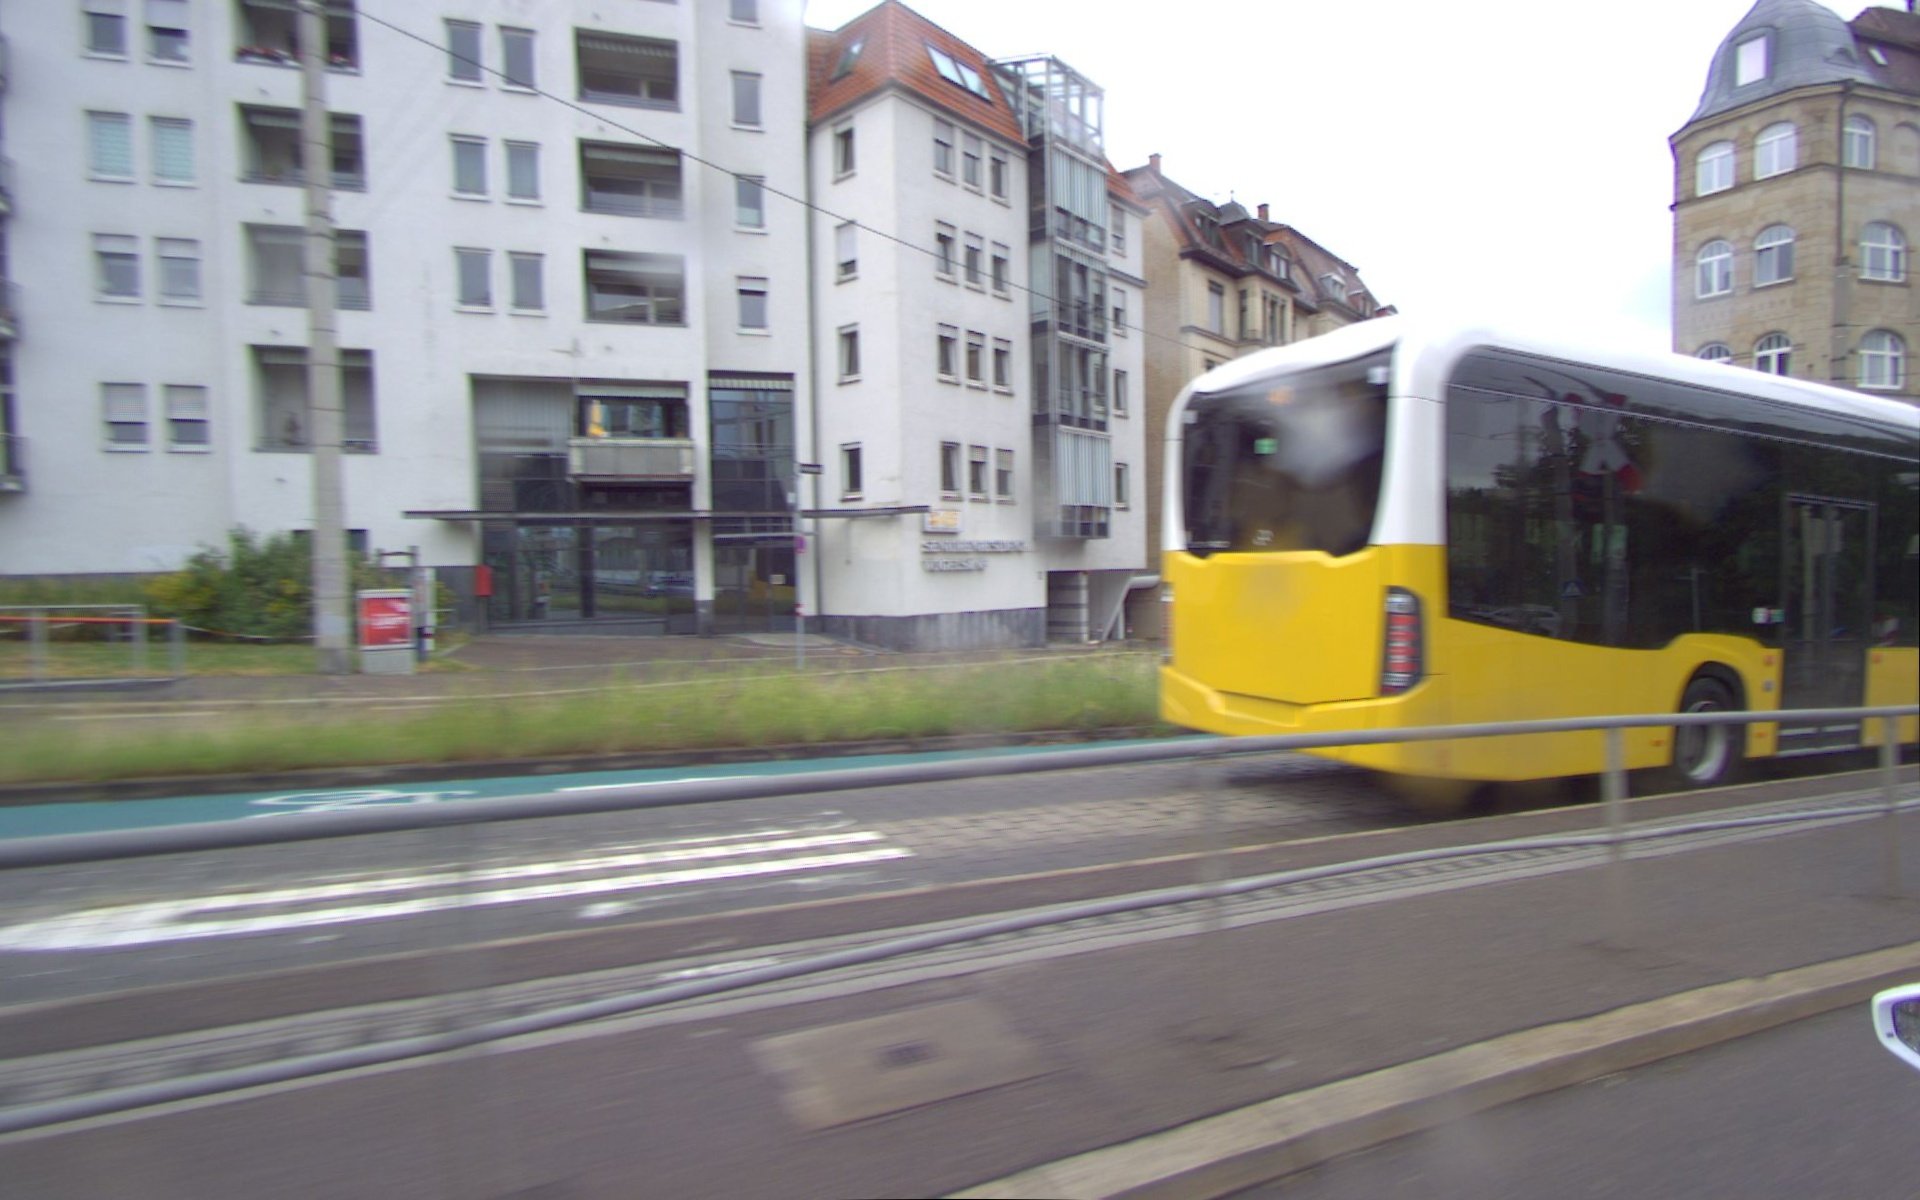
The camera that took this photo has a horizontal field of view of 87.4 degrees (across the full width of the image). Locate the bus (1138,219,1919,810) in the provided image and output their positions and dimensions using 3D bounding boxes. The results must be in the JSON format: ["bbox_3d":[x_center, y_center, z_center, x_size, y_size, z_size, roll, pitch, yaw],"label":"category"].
[{"bbox_3d":[6.083,-0.384,9.121,8.987,3.515,2.582,2,-1,-26],"label":"bus"}]
